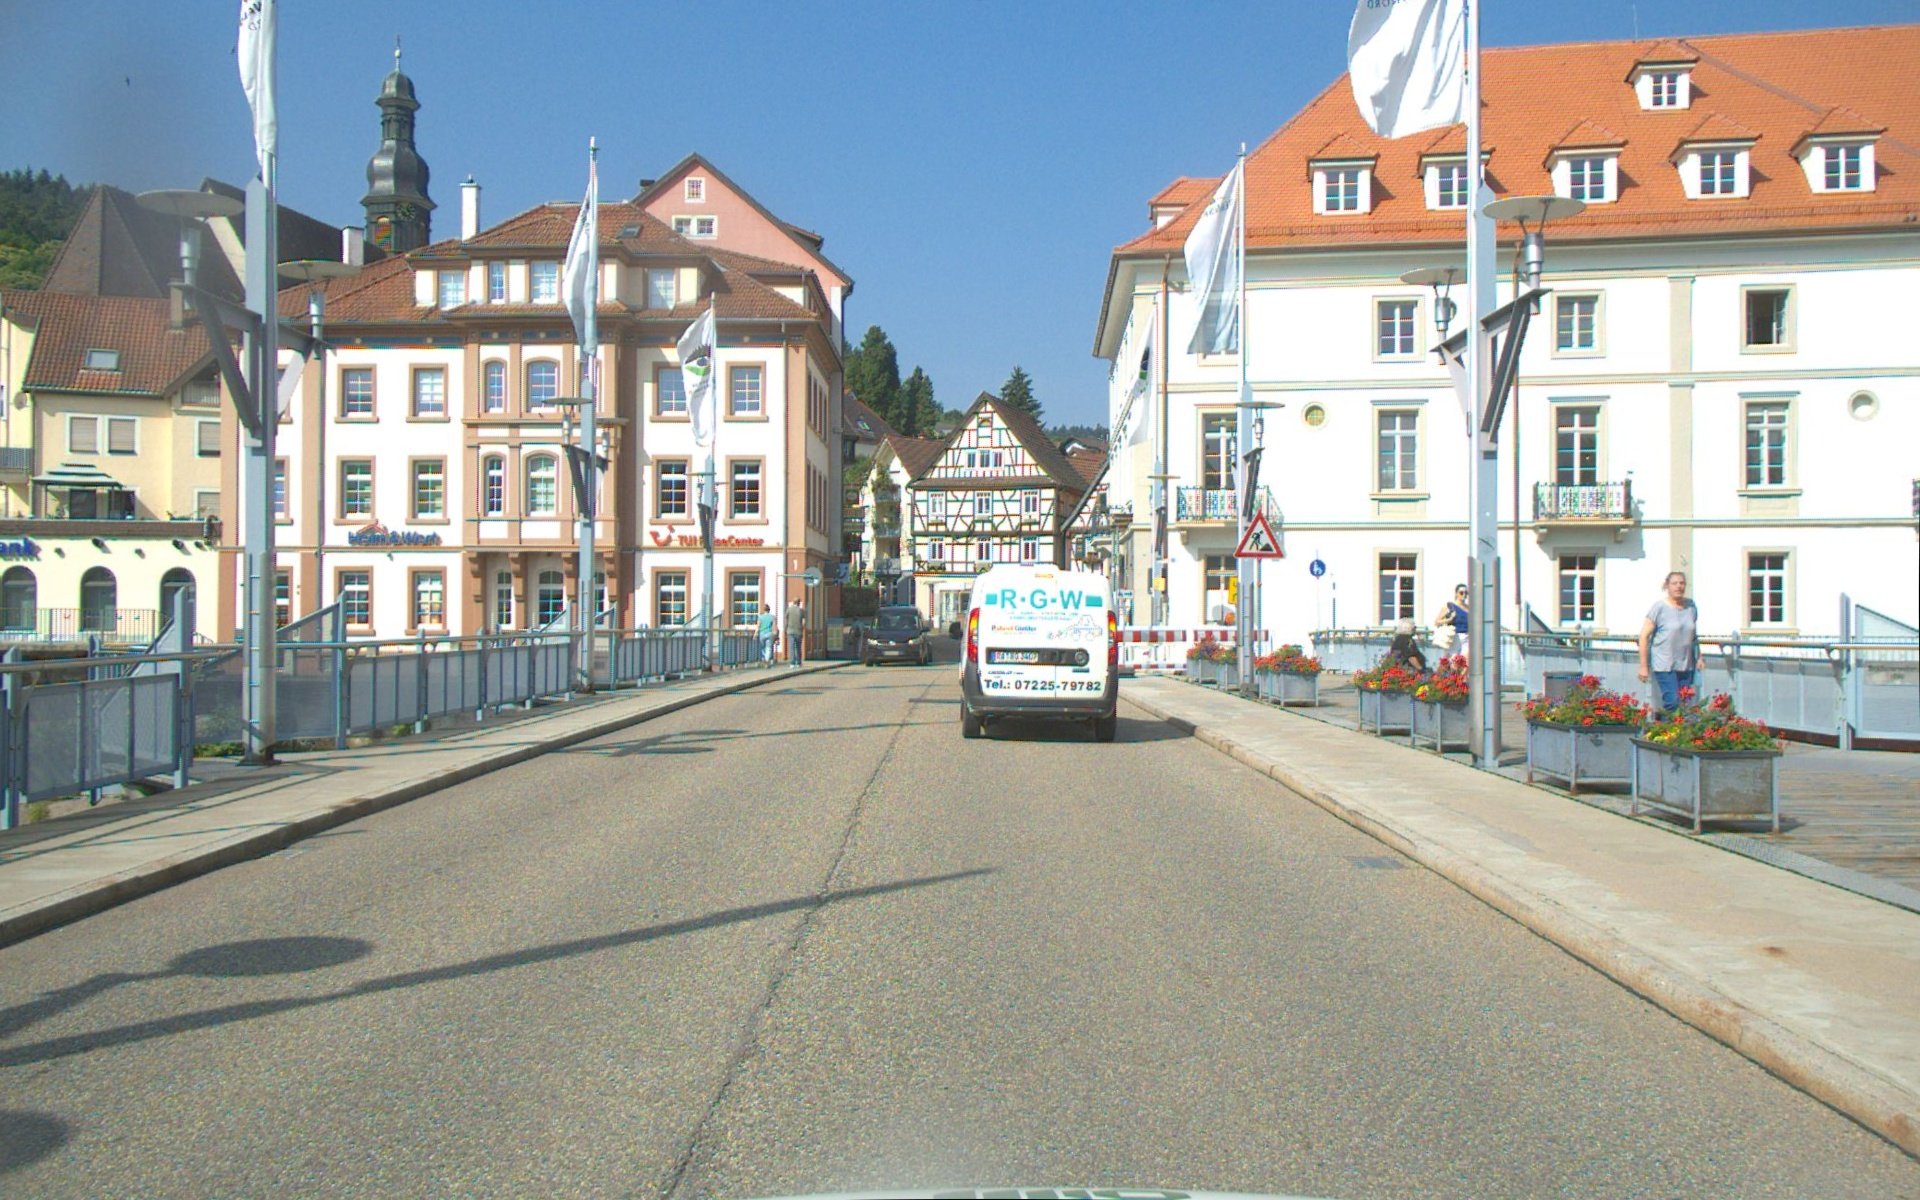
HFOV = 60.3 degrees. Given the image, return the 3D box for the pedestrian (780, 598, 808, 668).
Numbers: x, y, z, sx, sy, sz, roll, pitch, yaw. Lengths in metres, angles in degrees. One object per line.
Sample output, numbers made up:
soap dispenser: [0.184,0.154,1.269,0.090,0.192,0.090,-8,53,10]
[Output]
pedestrian: [-4.299,0.843,42.892,0.602,1.793,0.863,1,0,-1]

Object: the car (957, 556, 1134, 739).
car: [0.912,0.532,19.880,1.807,1.939,4.313,1,-1,-1]

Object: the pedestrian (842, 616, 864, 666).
pedestrian: [-4.067,1.539,62.823,0.787,1.890,0.616,0,0,-1]

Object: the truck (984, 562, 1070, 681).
truck: [1.525,0.508,39.162,1.823,2.631,4.260,1,-1,0]

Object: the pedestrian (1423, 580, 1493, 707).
pedestrian: [7.015,0.603,23.329,0.711,1.753,0.746,1,0,-5]

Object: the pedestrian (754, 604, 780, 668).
pedestrian: [-5.032,0.935,43.146,0.572,1.638,0.537,1,0,-1]

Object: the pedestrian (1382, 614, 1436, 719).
pedestrian: [5.511,0.809,20.301,0.443,1.266,0.625,0,-1,-5]

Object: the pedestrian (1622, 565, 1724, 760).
pedestrian: [6.172,0.532,14.340,0.652,1.646,0.563,1,0,3]

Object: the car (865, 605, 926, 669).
car: [-1.949,1.092,51.133,1.741,1.824,4.696,1,0,-1]
